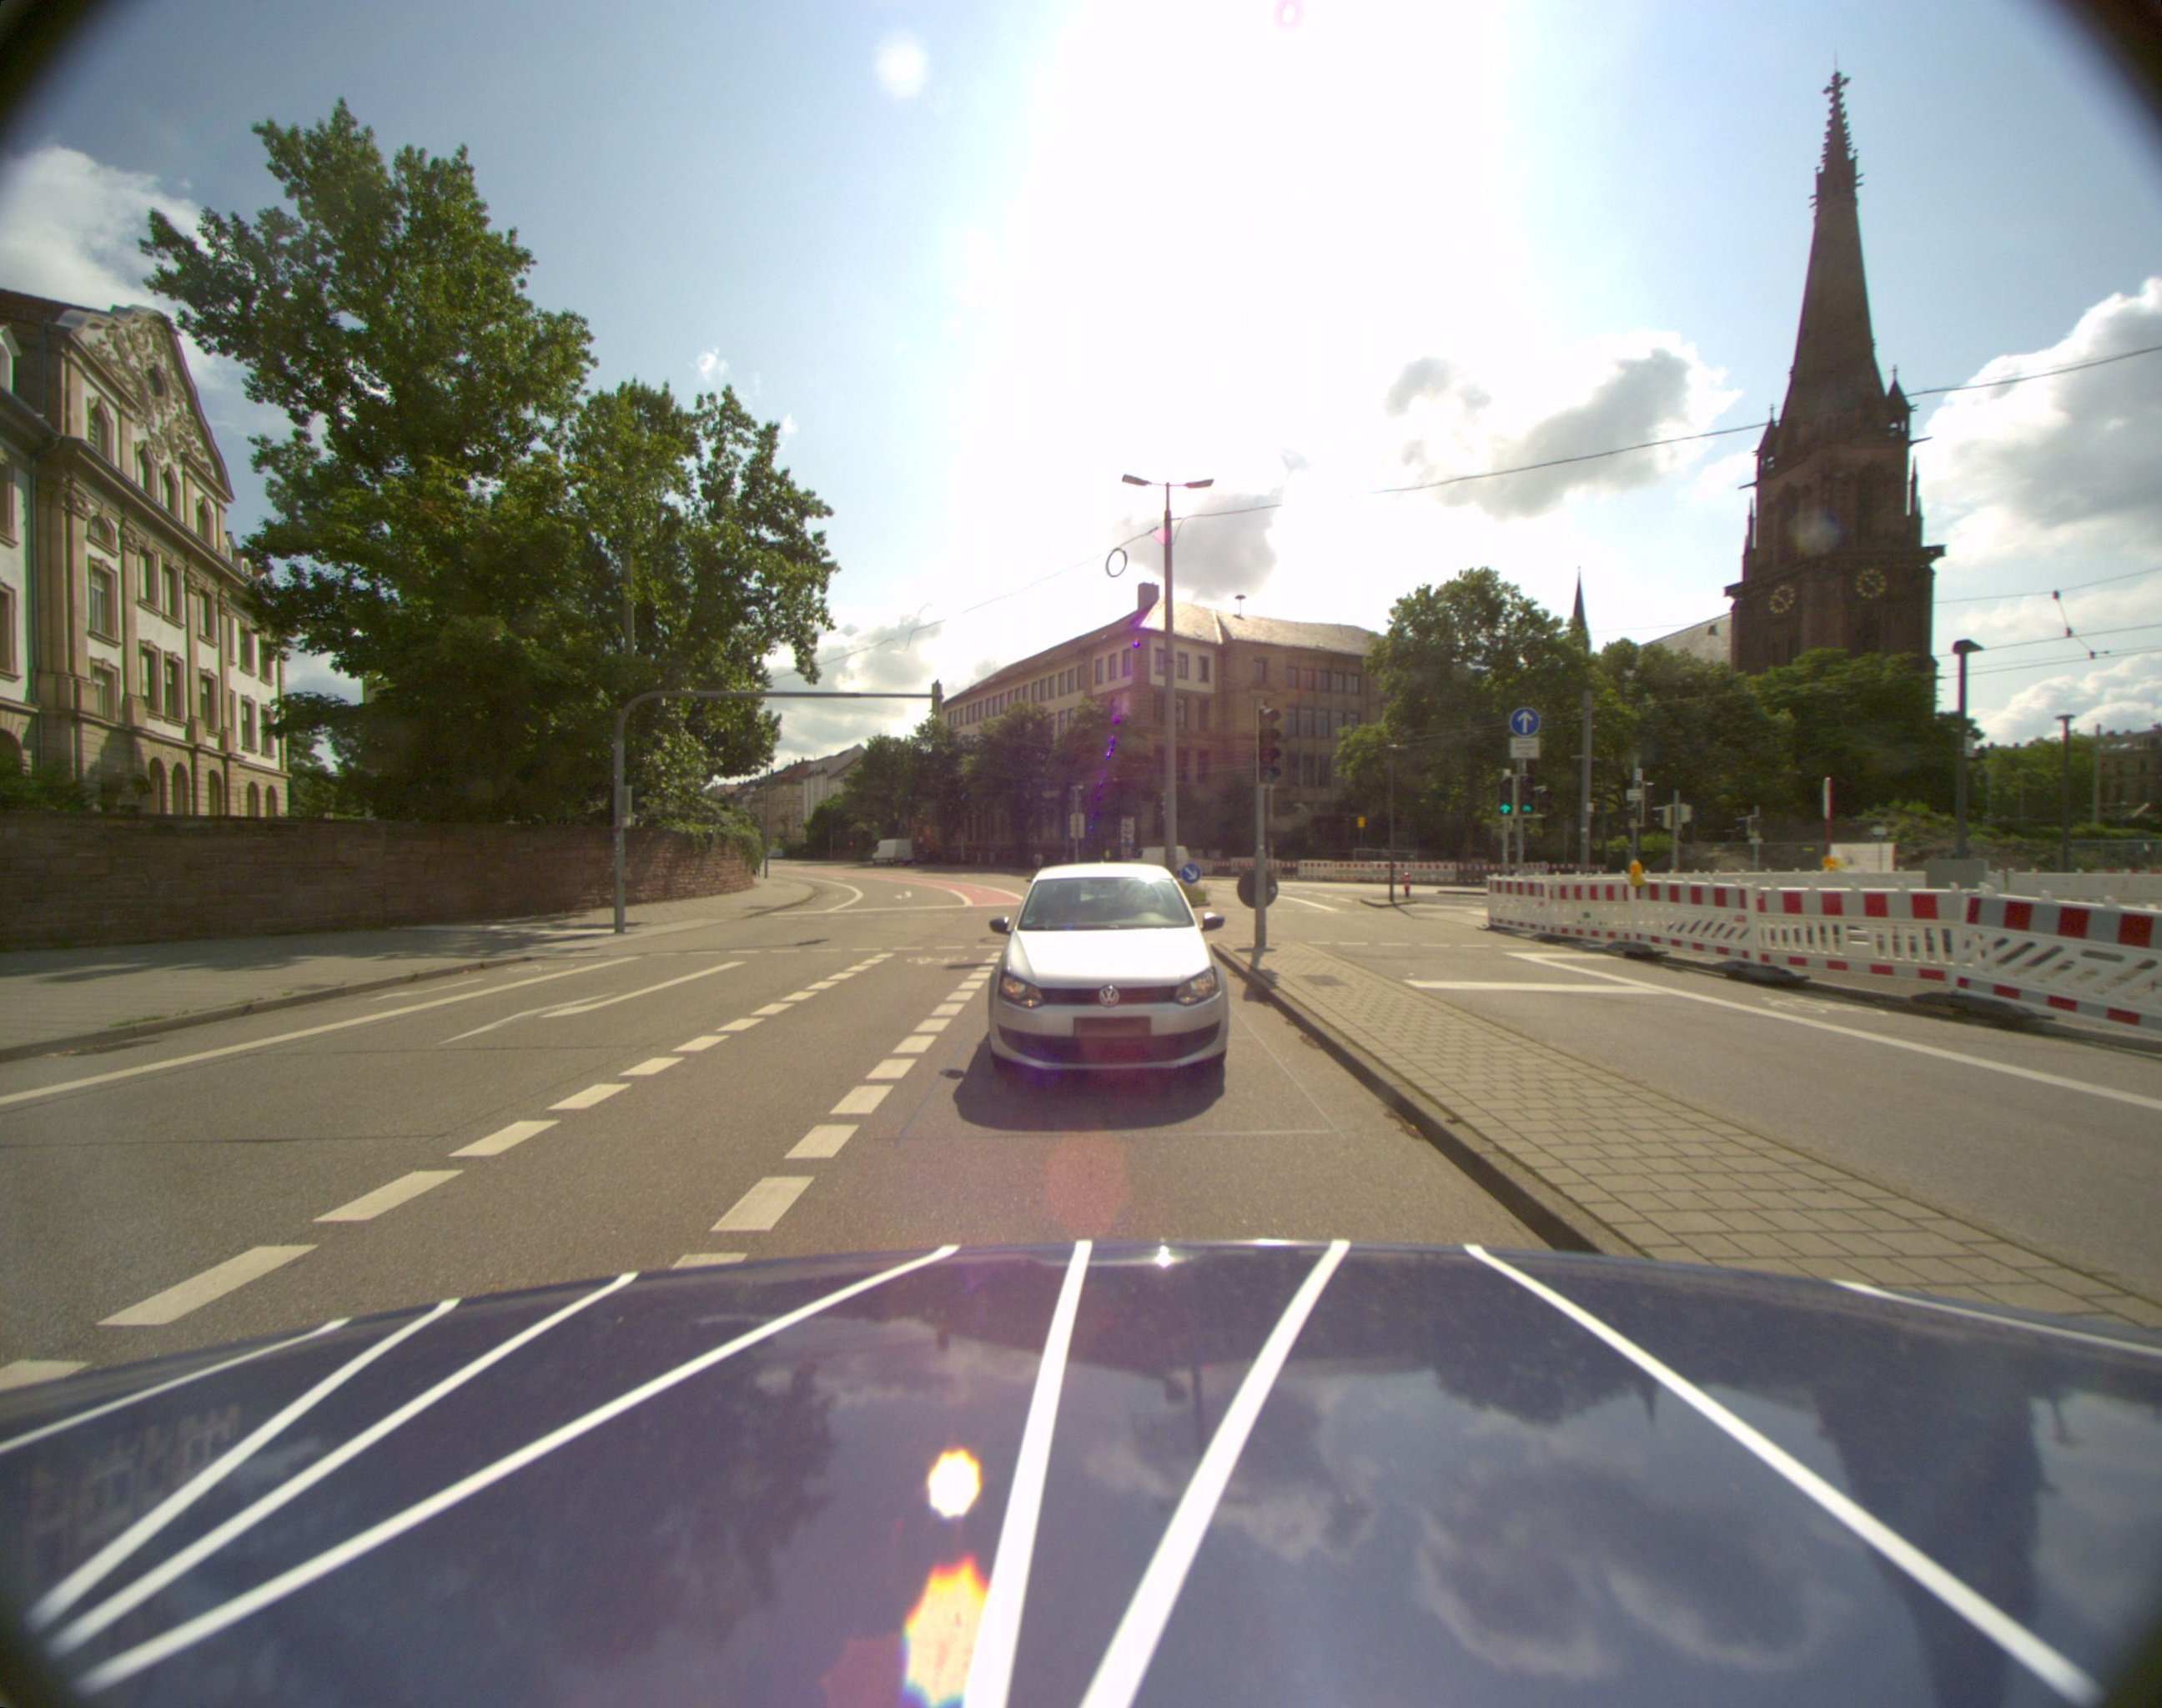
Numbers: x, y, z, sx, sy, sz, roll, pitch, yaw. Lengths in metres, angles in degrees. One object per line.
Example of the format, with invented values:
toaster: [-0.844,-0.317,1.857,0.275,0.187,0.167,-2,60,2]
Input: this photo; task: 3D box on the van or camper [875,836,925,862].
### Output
van or camper: [-18.762,-0.559,78.442,2.981,2.587,6.740,0,1,-33]

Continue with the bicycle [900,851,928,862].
bicycle: [-19.181,0.295,87.134,2.891,1.200,1.073,0,4,9]

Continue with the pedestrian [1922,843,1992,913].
pedestrian: [21.891,0.568,18.999,1.209,1.696,0.840,0,1,-26]

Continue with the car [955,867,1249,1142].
car: [0.151,0.911,6.423,1.655,1.433,4.004,-2,1,1]

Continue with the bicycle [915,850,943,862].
bicycle: [-17.021,0.238,84.995,2.891,1.200,1.050,0,4,9]
